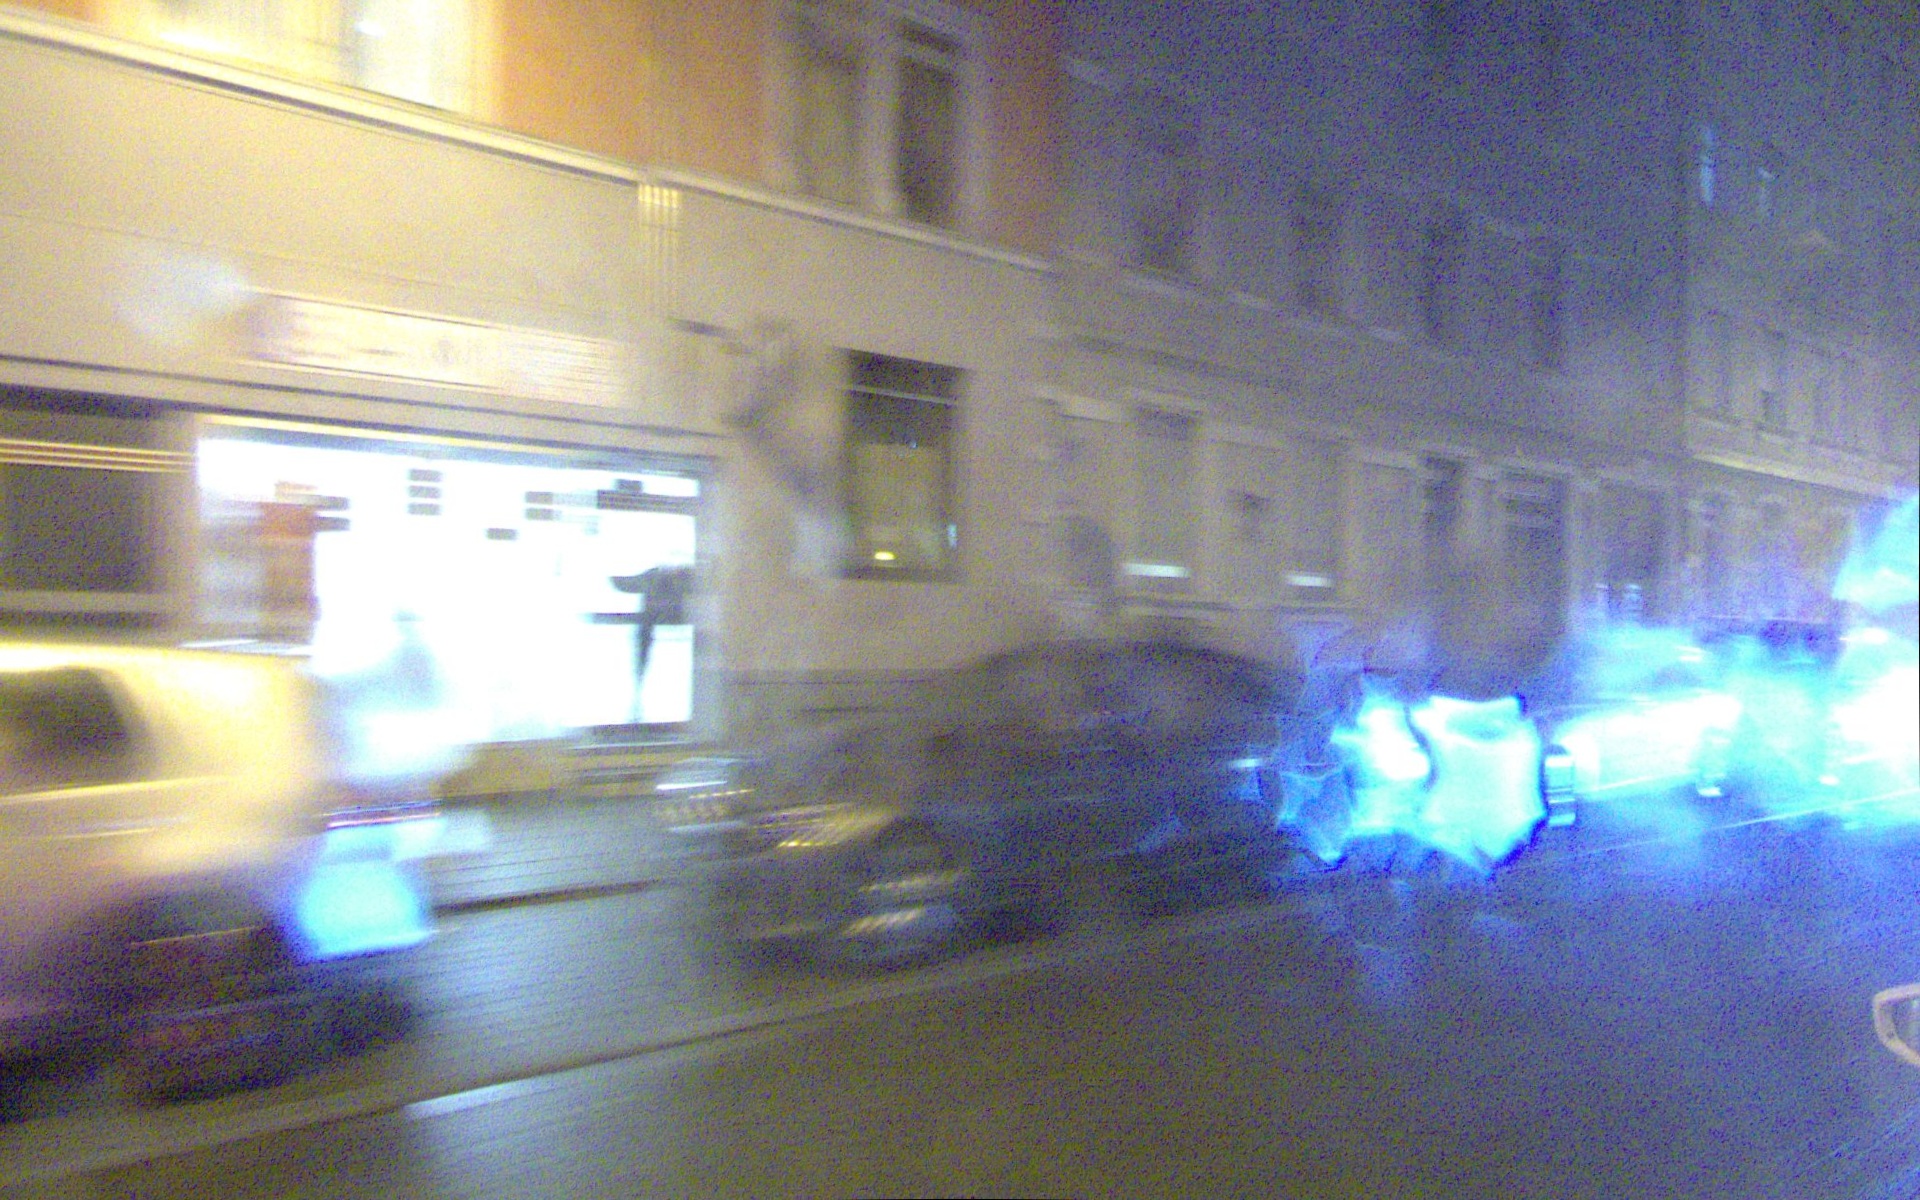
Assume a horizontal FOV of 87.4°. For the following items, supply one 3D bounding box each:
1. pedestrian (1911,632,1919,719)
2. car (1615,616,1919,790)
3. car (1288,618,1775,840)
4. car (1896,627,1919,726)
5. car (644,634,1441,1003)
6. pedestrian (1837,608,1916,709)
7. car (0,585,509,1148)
[{"bbox_3d":[17.864,1.389,18.332,0.758,1.573,0.649,2,1,-45],"label":"pedestrian"},{"bbox_3d":[9.078,1.013,11.005,3.721,1.609,1.737,2,-1,-30],"label":"car"},{"bbox_3d":[5.046,0.950,8.739,4.256,1.500,1.824,2,-1,-30],"label":"car"},{"bbox_3d":[16.884,1.220,15.903,4.541,1.506,1.824,2,-1,-30],"label":"car"},{"bbox_3d":[0.614,0.931,5.813,4.374,1.408,1.813,2,-2,-31],"label":"car"},{"bbox_3d":[17.193,1.089,18.841,0.974,1.828,0.740,2,1,-27],"label":"pedestrian"},{"bbox_3d":[-3.788,0.748,3.241,4.086,1.593,1.766,2,-2,-31],"label":"car"}]
